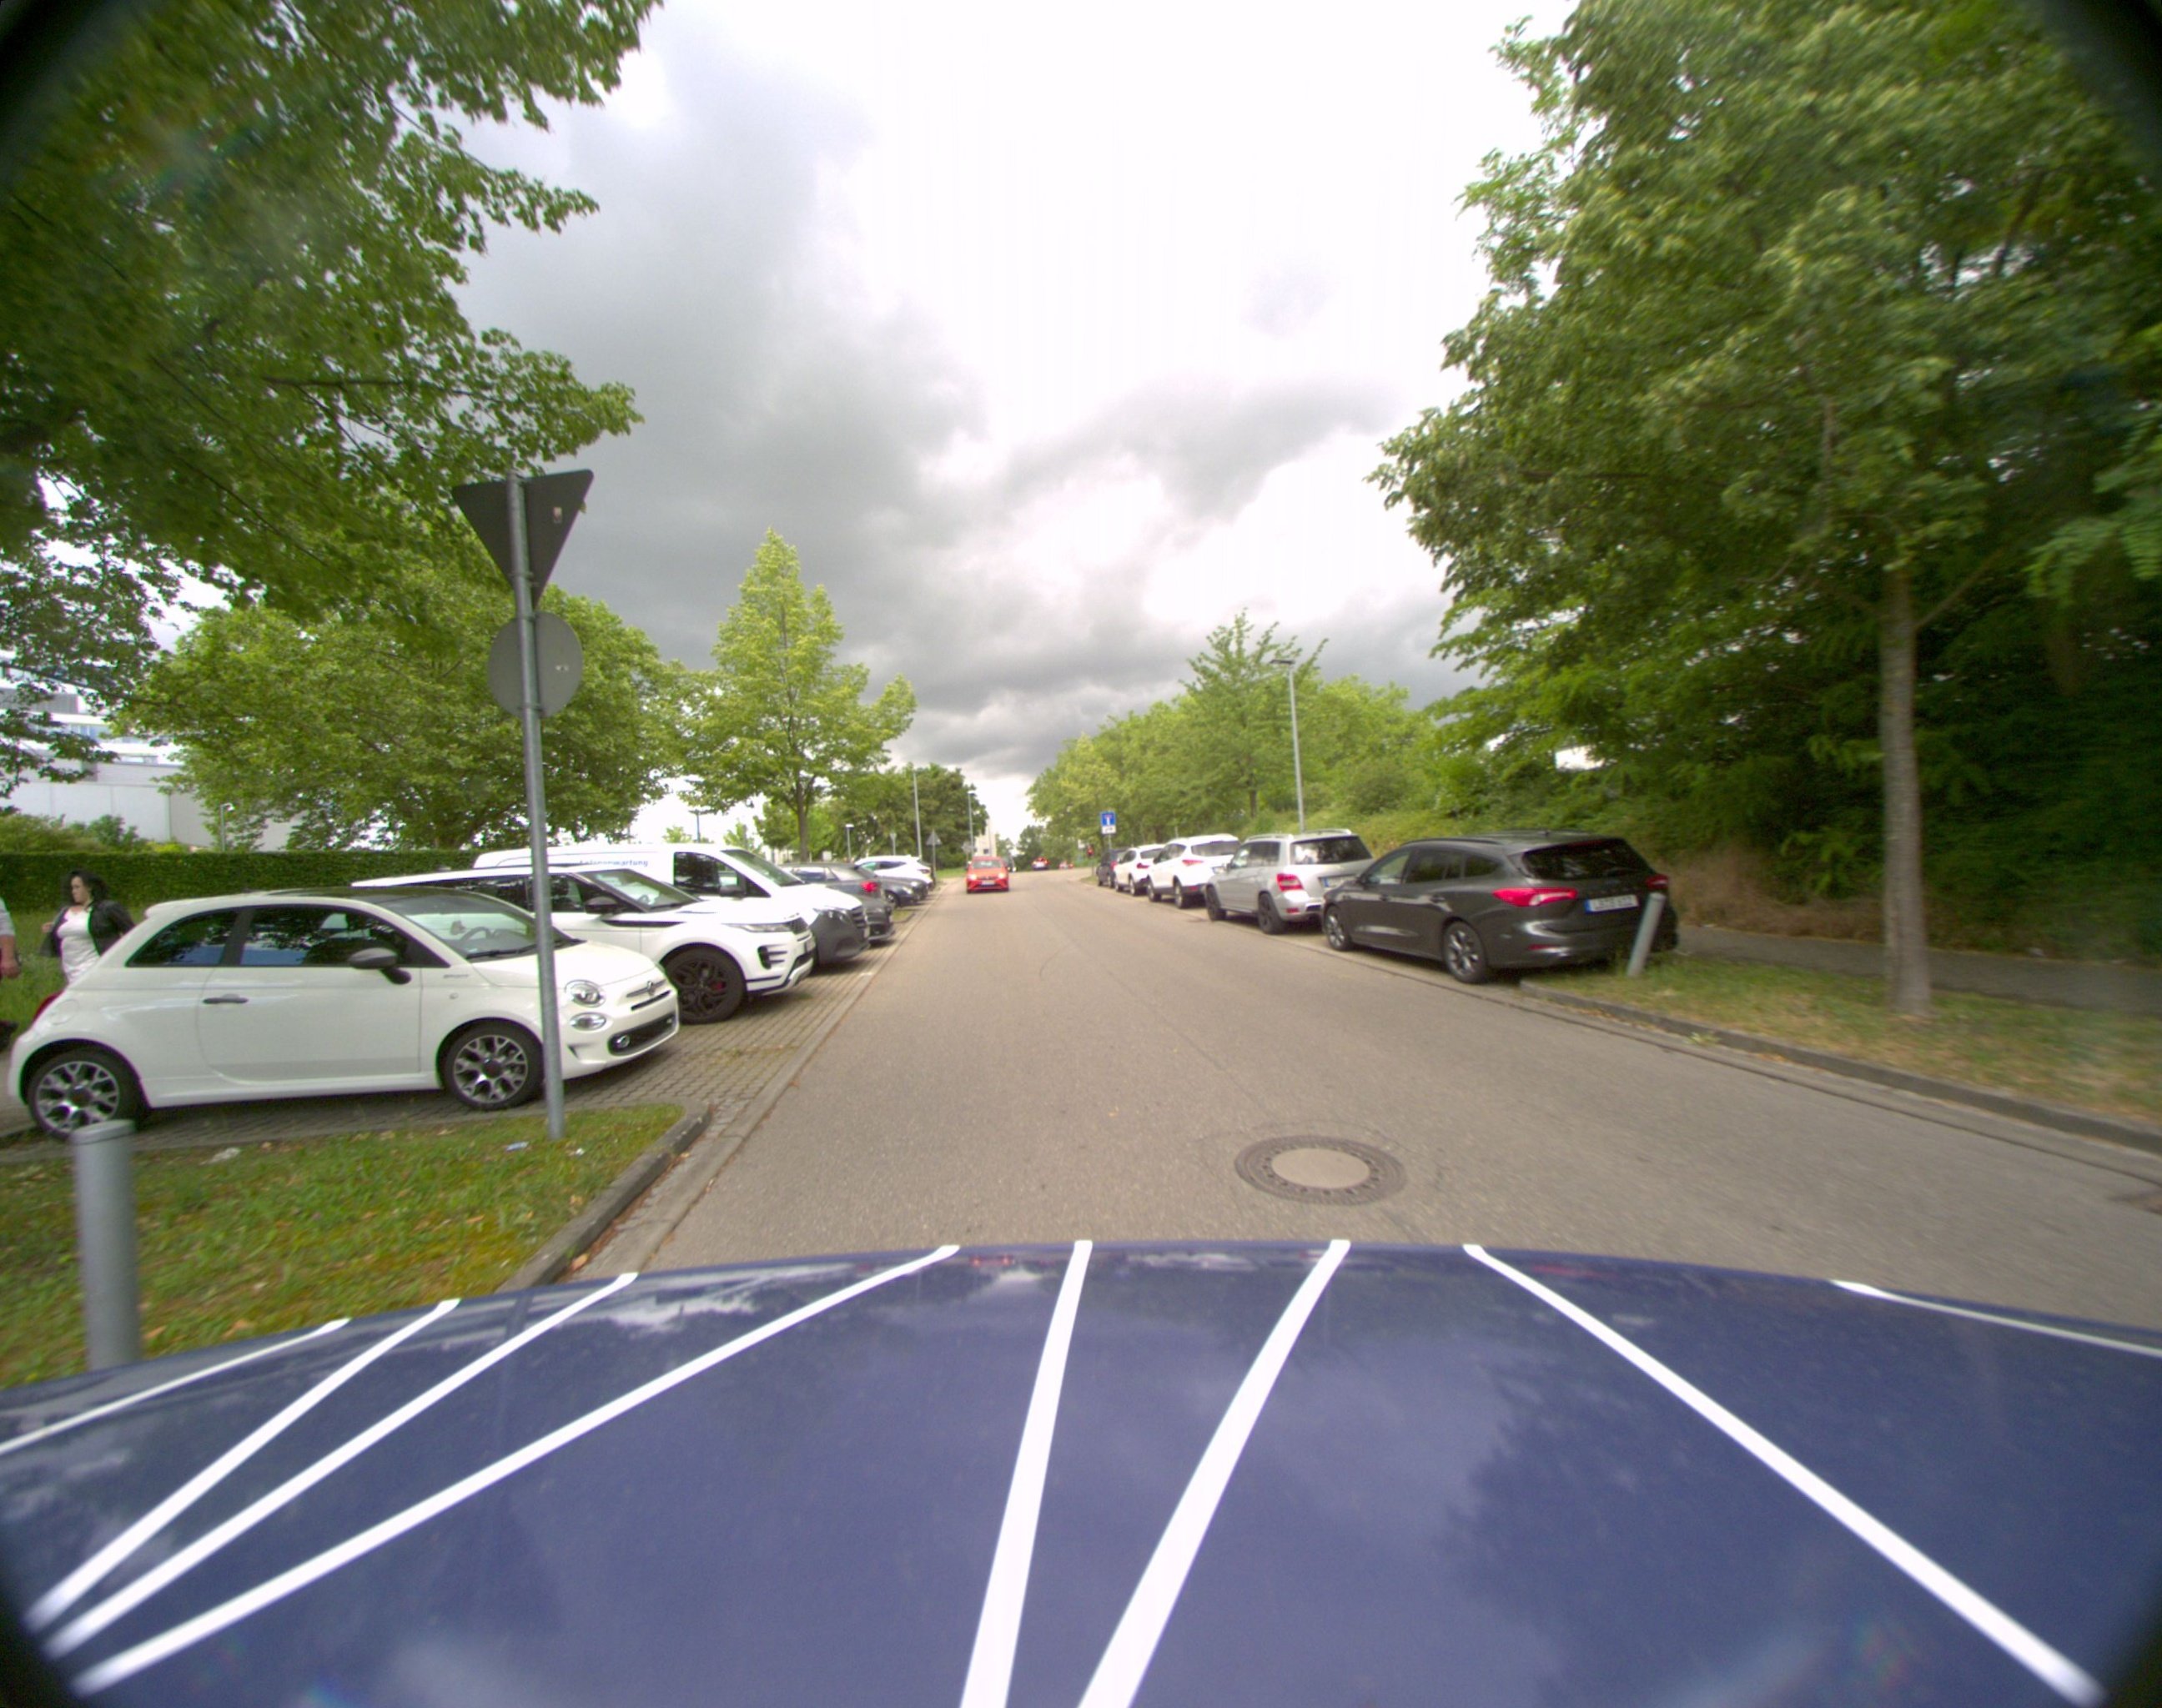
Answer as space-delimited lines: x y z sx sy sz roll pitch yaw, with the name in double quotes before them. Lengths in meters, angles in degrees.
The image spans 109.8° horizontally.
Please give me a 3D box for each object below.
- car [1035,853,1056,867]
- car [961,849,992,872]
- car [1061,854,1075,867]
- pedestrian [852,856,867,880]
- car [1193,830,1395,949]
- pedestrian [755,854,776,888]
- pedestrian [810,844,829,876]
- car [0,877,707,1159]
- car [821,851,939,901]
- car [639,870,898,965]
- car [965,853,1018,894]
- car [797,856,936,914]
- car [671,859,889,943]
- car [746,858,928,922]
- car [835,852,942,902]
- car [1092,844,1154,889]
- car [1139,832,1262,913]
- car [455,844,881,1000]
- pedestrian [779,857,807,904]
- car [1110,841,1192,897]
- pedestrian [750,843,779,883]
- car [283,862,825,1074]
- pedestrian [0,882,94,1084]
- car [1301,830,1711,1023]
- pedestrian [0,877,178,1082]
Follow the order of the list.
"car" -4.266 0.669 89.923 1.903 1.573 4.163 1 -1 -11
"car" -7.525 0.457 55.079 1.759 1.506 3.999 -4 0 -2
"car" -1.777 0.857 102.635 1.759 1.506 3.999 -4 0 -2
"pedestrian" -16.438 1.028 56.400 0.764 1.712 0.884 -4 1 -36
"car" 3.563 0.494 13.704 1.804 1.606 4.474 -6 2 -7
"pedestrian" -16.267 0.863 39.153 0.655 1.701 0.706 -4 1 0
"pedestrian" -12.181 0.268 35.422 0.620 1.460 0.735 -4 1 -6
"car" -4.945 1.005 5.546 3.522 1.453 1.738 -3 0 -7
"car" -6.957 0.750 26.600 3.681 1.637 1.851 1 0 -5
"car" -5.255 1.037 13.286 3.837 1.363 1.841 -1 1 -9
"car" -3.689 0.751 31.883 1.759 1.506 3.999 -4 0 -2
"car" -6.767 0.949 24.389 3.999 1.510 1.882 -4 1 -8
"car" -6.108 0.921 15.875 3.836 1.511 1.910 -1 1 -8
"car" -6.746 0.962 21.513 4.590 1.483 1.950 -2 1 -10
"car" -7.324 0.856 29.201 3.681 1.566 1.591 -3 4 -5
"car" 1.591 0.462 29.969 1.695 1.479 3.951 -6 1 -6
"car" 2.891 0.425 19.454 1.812 1.655 4.434 -6 1 -7
"car" -5.391 0.836 10.506 4.788 1.821 1.842 -1 1 -5
"pedestrian" -11.529 1.053 30.439 0.742 1.782 0.878 -4 1 -6
"car" 2.189 0.470 25.000 1.695 1.502 4.228 -6 1 -7
"pedestrian" -13.286 0.360 31.901 0.929 1.611 0.690 -3 1 39
"car" -5.016 1.017 7.838 4.164 1.593 1.738 -4 0 -8
"pedestrian" -9.395 1.104 6.526 0.872 1.647 0.592 -4 1 -8
"car" 4.307 0.616 8.707 1.695 1.456 4.453 -6 1 -7
"pedestrian" -8.649 1.048 6.624 0.691 1.647 0.599 -4 1 -8
